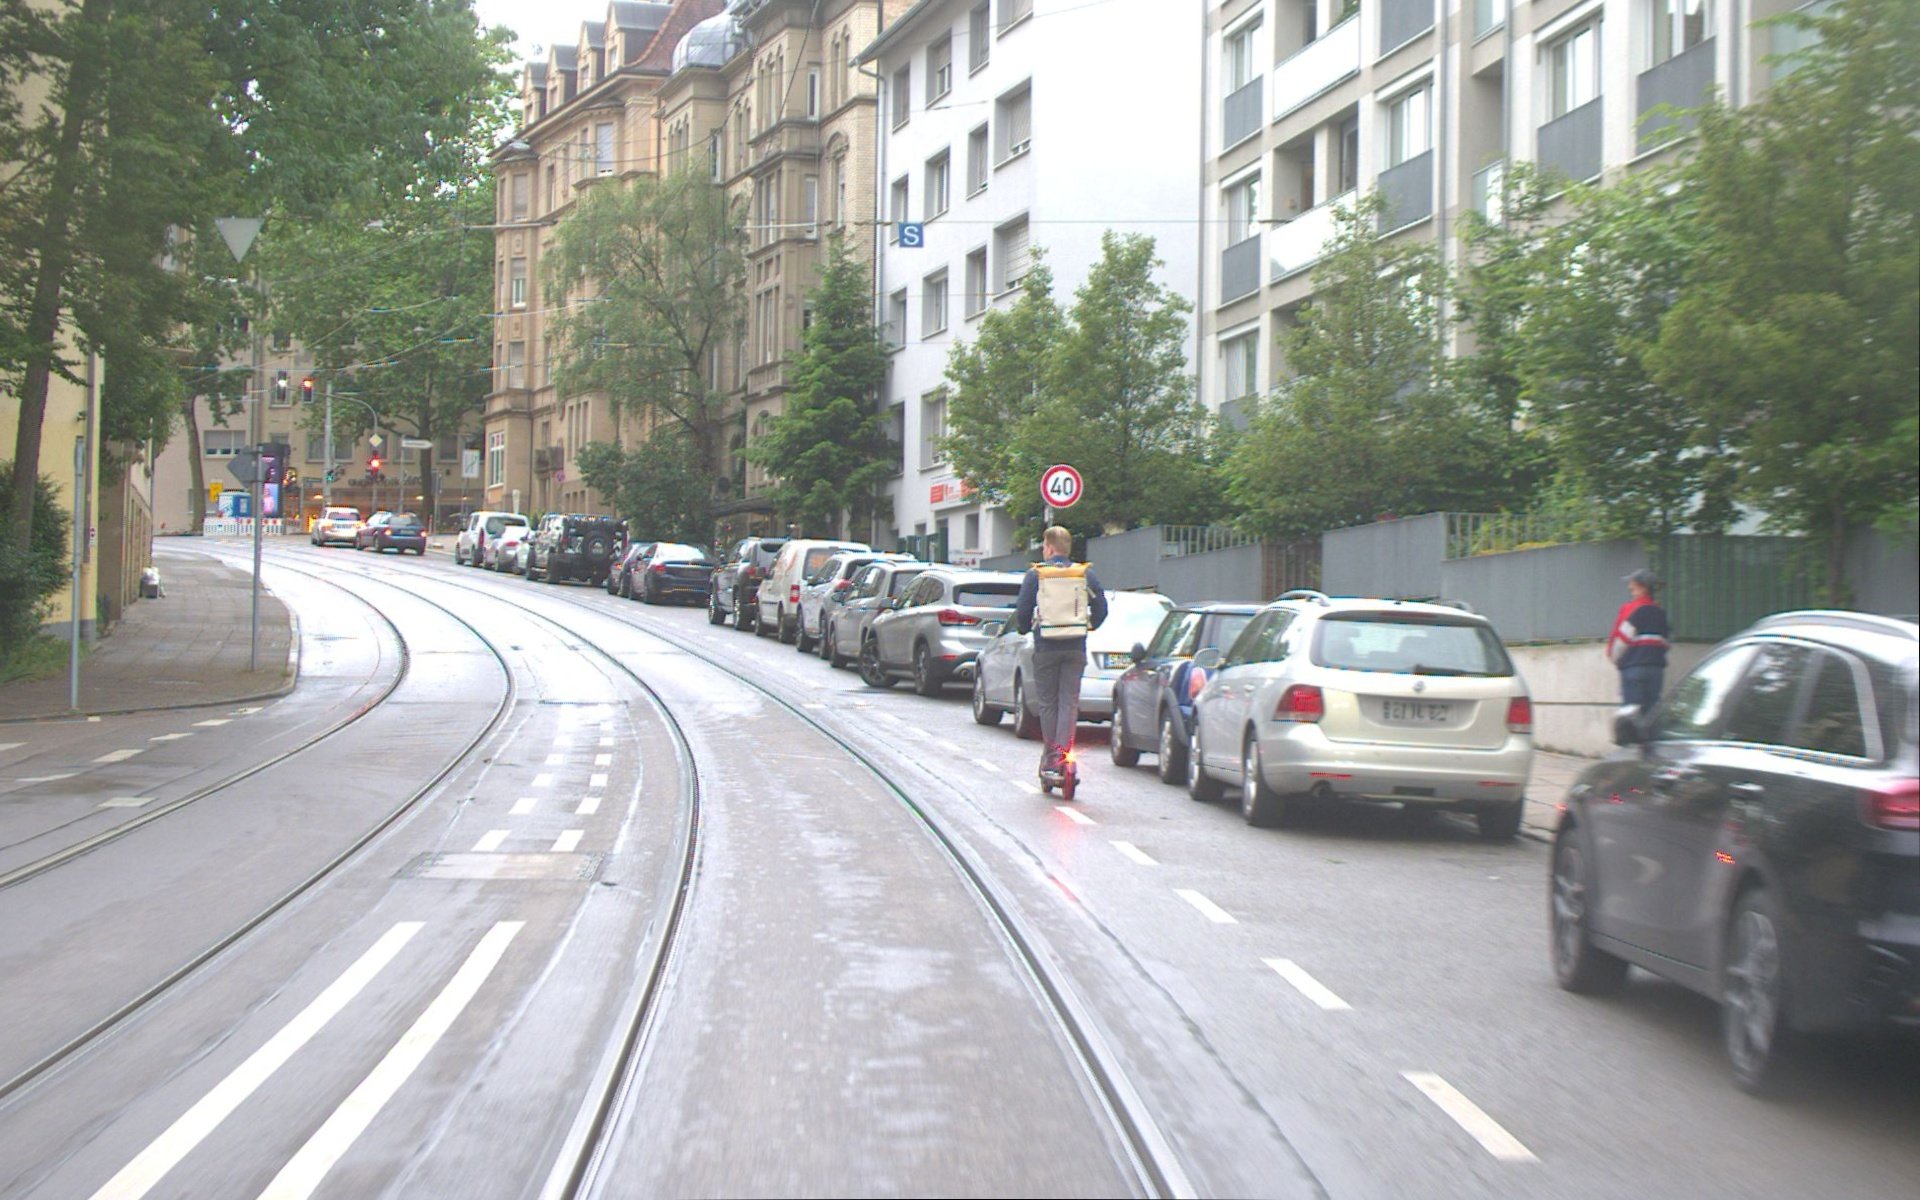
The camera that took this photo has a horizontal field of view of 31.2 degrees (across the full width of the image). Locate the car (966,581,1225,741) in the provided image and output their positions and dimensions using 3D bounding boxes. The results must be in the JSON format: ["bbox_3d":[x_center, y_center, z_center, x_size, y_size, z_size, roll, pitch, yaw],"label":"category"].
[{"bbox_3d":[1.279,0.559,34.512,1.761,1.430,4.640,1,1,-8],"label":"car"}]

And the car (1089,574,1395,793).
[{"bbox_3d":[2.181,0.615,27.574,1.701,1.507,3.715,2,1,-6],"label":"car"}]

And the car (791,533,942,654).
[{"bbox_3d":[-1.561,-0.136,55.761,1.766,1.781,4.249,2,1,-10],"label":"car"}]

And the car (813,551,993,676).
[{"bbox_3d":[-0.884,0.158,50.264,1.766,1.610,4.250,2,1,-12],"label":"car"}]

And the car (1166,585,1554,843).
[{"bbox_3d":[2.533,0.678,22.850,1.661,1.466,4.508,2,0,-5],"label":"car"}]

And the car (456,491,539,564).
[{"bbox_3d":[-14.839,-2.345,110.041,2.027,2.210,4.141,2,1,-15],"label":"car"}]

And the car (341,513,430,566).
[{"bbox_3d":[-20.636,-2.181,123.392,2.027,1.728,4.140,2,1,-26],"label":"car"}]

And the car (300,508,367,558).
[{"bbox_3d":[-23.497,-2.522,128.819,1.856,1.728,4.141,2,1,-18],"label":"car"}]

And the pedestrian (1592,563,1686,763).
[{"bbox_3d":[5.361,0.490,27.161,0.569,1.537,0.651,-1,1,-2],"label":"pedestrian"}]

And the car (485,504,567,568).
[{"bbox_3d":[-13.260,-1.978,104.870,2.027,1.818,4.141,2,1,-13],"label":"car"}]

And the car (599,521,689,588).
[{"bbox_3d":[-7.821,-1.139,84.921,1.649,1.531,3.890,-2,2,-13],"label":"car"}]

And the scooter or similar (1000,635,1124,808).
[{"bbox_3d":[0.686,0.818,23.772,0.513,1.046,2.009,3,1,-7],"label":"scooter or similar"}]

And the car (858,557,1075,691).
[{"bbox_3d":[0.023,0.272,44.171,1.766,1.610,4.249,1,1,-14],"label":"car"}]

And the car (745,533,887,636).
[{"bbox_3d":[-2.636,-0.312,61.915,1.766,1.678,4.250,2,1,-13],"label":"car"}]

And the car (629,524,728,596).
[{"bbox_3d":[-6.575,-0.943,79.979,1.766,1.512,4.141,2,1,-12],"label":"car"}]

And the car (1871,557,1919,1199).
[{"bbox_3d":[3.407,0.770,6.678,1.837,1.567,4.249,3,1,-4],"label":"car"}]

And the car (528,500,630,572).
[{"bbox_3d":[-10.456,-1.770,94.111,2.027,1.818,4.369,2,1,-16],"label":"car"}]

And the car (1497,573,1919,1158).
[{"bbox_3d":[3.144,0.749,11.600,1.701,1.507,4.571,4,1,-2],"label":"car"}]

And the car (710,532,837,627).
[{"bbox_3d":[-3.641,-0.423,66.518,1.766,1.678,4.250,2,1,-12],"label":"car"}]

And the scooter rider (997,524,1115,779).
[{"bbox_3d":[0.658,0.344,23.843,0.623,1.700,0.844,3,1,-7],"label":"scooter rider"}]
